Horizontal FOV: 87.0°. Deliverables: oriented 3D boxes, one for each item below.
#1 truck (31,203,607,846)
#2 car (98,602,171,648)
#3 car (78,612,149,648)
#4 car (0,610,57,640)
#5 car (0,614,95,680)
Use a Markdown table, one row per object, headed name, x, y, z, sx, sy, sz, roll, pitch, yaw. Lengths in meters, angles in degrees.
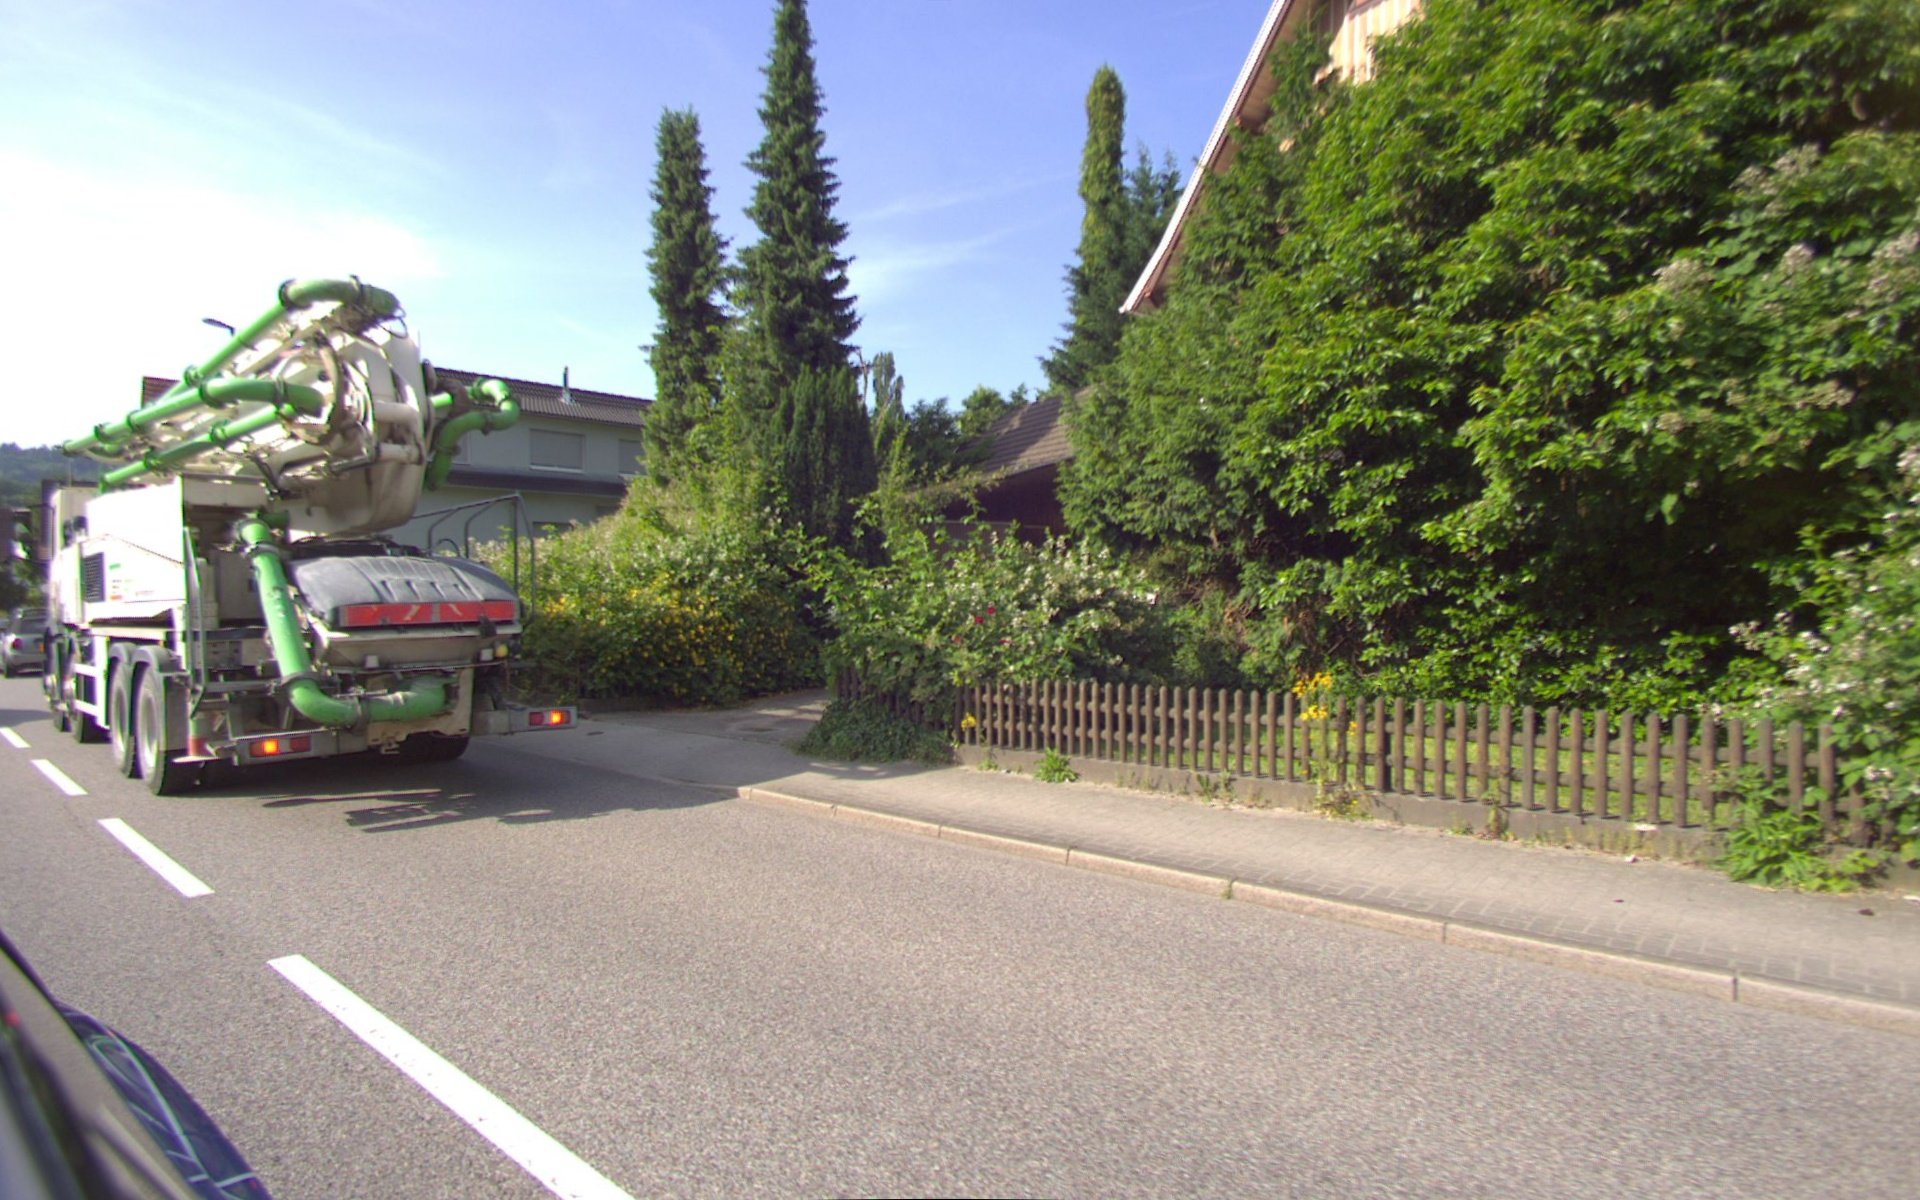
| name | x | y | z | sx | sy | sz | roll | pitch | yaw |
| --- | --- | --- | --- | --- | --- | --- | --- | --- | --- |
| truck | -7.826 | -0.413 | 11.034 | 11.306 | 3.961 | 2.550 | -1 | 0 | 43 |
| car | -33.697 | 0.987 | 41.285 | 1.879 | 1.676 | 4.270 | -4 | 2 | -44 |
| car | -38.465 | 1.348 | 45.938 | 4.092 | 1.530 | 1.865 | -1 | -1 | 41 |
| car | -52.668 | 1.383 | 57.043 | 4.229 | 1.530 | 1.867 | -1 | 2 | 37 |
| car | -22.654 | 1.090 | 24.836 | 4.000 | 1.413 | 1.695 | 0 | 1 | 42 |
